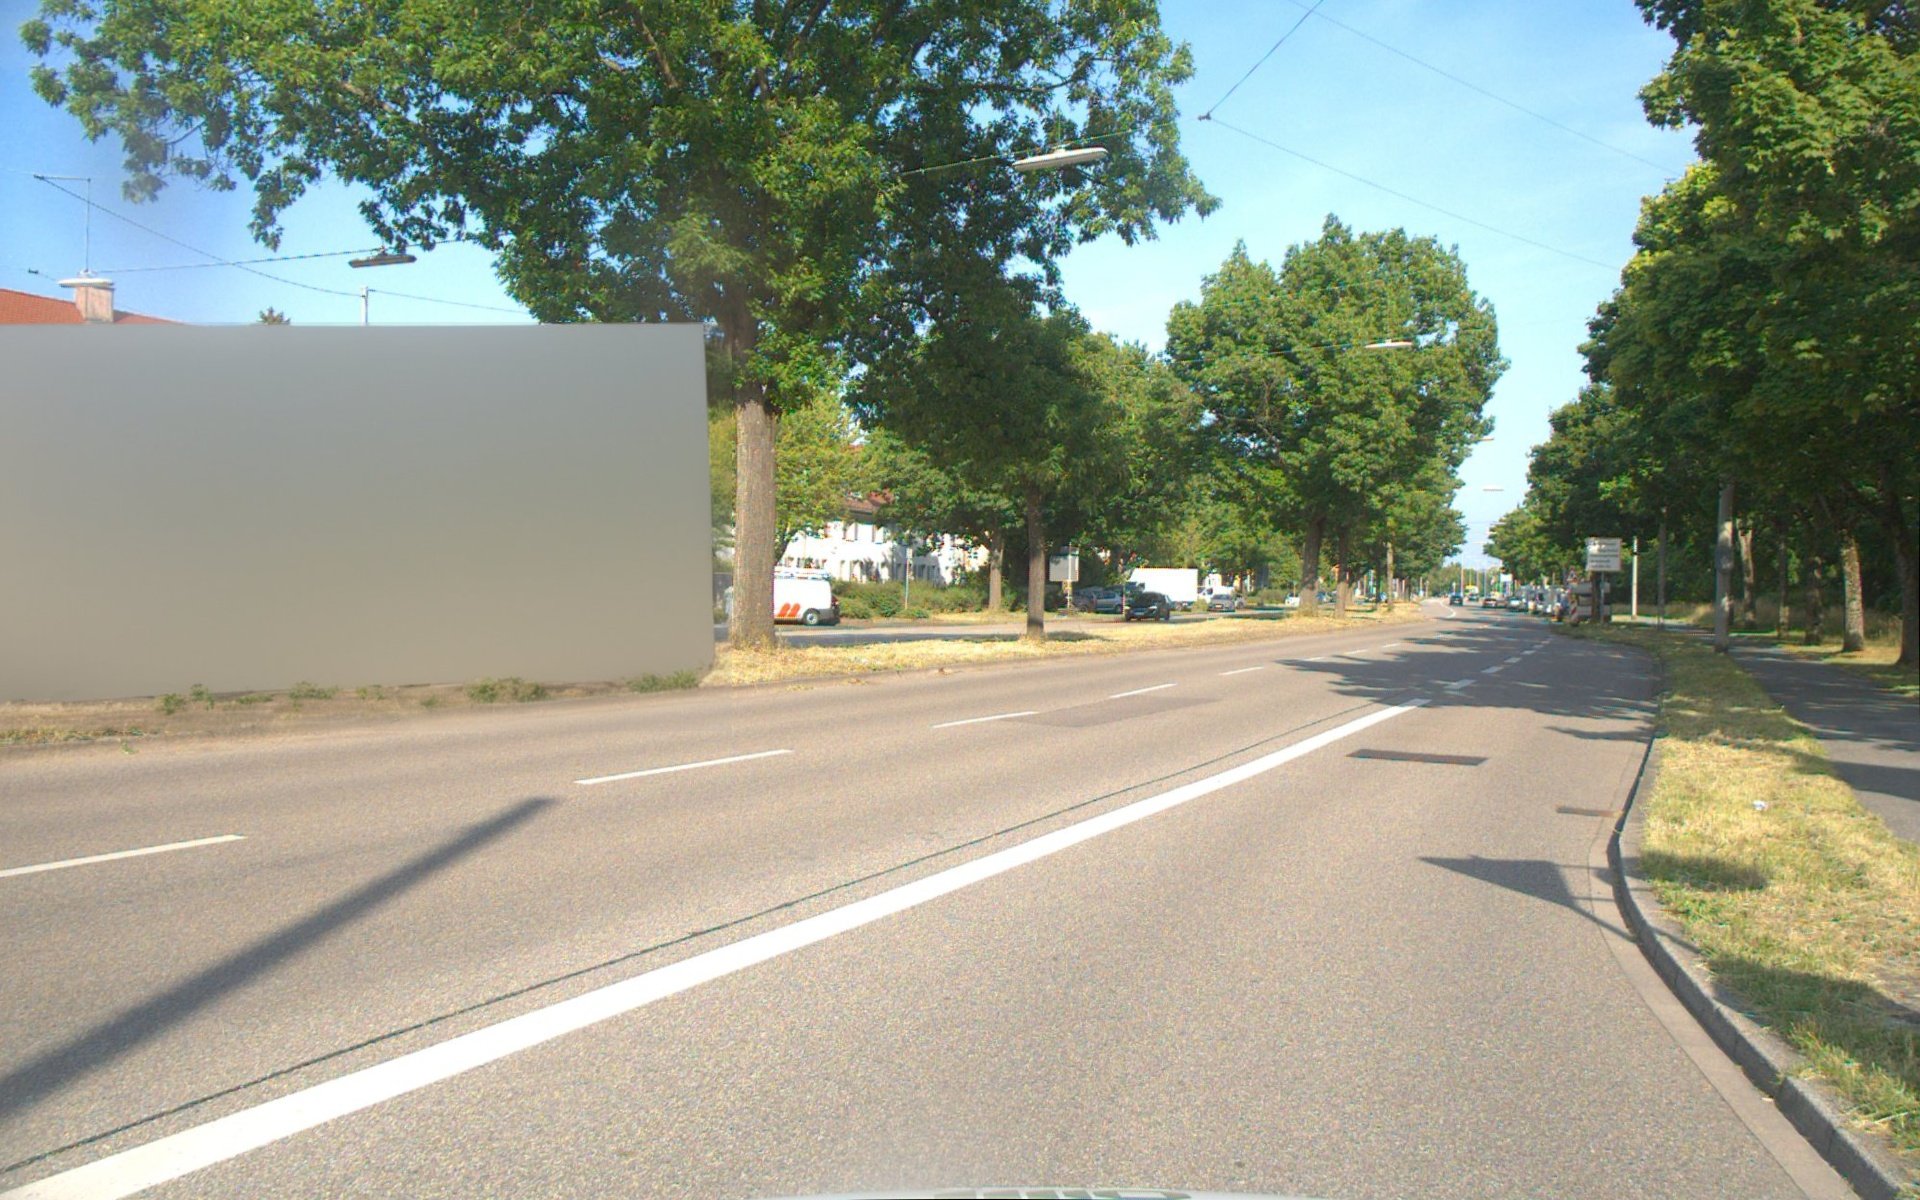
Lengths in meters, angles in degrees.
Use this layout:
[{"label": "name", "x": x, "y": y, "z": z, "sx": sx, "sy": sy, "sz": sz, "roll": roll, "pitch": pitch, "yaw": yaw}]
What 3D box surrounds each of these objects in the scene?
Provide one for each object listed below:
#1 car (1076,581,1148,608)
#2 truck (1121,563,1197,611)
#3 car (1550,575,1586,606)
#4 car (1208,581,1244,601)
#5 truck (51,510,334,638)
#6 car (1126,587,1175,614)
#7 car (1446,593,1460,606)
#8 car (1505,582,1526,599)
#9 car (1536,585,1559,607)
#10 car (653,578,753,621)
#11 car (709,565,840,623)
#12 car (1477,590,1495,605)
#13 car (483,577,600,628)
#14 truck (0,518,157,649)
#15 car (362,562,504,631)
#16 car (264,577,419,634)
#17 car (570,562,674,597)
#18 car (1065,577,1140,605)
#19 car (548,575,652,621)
[{"label": "car", "x": 10.180, "y": -0.368, "z": 110.854, "sx": 4.460, "sy": 1.753, "sz": 1.988, "roll": 0, "pitch": 0, "yaw": -21}, {"label": "truck", "x": 14.622, "y": -0.948, "z": 121.652, "sx": 5.422, "sy": 3.525, "sz": 1.982, "roll": 0, "pitch": 0, "yaw": -27}, {"label": "car", "x": 40.803, "y": -0.622, "z": 111.006, "sx": 1.951, "sy": 2.049, "sz": 4.134, "roll": 0, "pitch": 1, "yaw": 16}, {"label": "car", "x": 21.162, "y": -0.692, "z": 131.417, "sx": 1.872, "sy": 1.476, "sz": 4.278, "roll": 0, "pitch": -1, "yaw": 22}, {"label": "truck", "x": -18.180, "y": -0.606, "z": 39.504, "sx": 5.977, "sy": 2.904, "sz": 1.883, "roll": 0, "pitch": 0, "yaw": -23}, {"label": "car", "x": 9.973, "y": 0.028, "z": 86.518, "sx": 1.675, "sy": 1.377, "sz": 4.001, "roll": 1, "pitch": 1, "yaw": 20}, {"label": "car", "x": 69.504, "y": -0.034, "z": 233.192, "sx": 1.773, "sy": 1.736, "sz": 4.003, "roll": 0, "pitch": -1, "yaw": 13}, {"label": "car", "x": 67.448, "y": -1.117, "z": 200.926, "sx": 1.951, "sy": 2.049, "sz": 4.004, "roll": 0, "pitch": 1, "yaw": 13}, {"label": "car", "x": 56.933, "y": -0.379, "z": 160.394, "sx": 1.951, "sy": 2.049, "sz": 4.002, "roll": 0, "pitch": 1, "yaw": 17}, {"label": "car", "x": -9.475, "y": -0.039, "z": 60.954, "sx": 3.370, "sy": 1.540, "sz": 1.886, "roll": 0, "pitch": 0, "yaw": -19}, {"label": "car", "x": -7.475, "y": -0.265, "z": 66.691, "sx": 4.895, "sy": 2.271, "sz": 1.986, "roll": 0, "pitch": 0, "yaw": -23}, {"label": "car", "x": 66.973, "y": -0.323, "z": 210.606, "sx": 1.773, "sy": 1.736, "sz": 4.003, "roll": 0, "pitch": -1, "yaw": 13}, {"label": "car", "x": -13.087, "y": 0.076, "z": 51.693, "sx": 3.435, "sy": 1.540, "sz": 1.886, "roll": 0, "pitch": 0, "yaw": -19}, {"label": "truck", "x": -20.012, "y": -0.368, "z": 33.605, "sx": 6.225, "sy": 2.568, "sz": 2.271, "roll": 1, "pitch": 0, "yaw": -12}, {"label": "car", "x": -15.405, "y": -0.099, "z": 48.333, "sx": 3.843, "sy": 1.953, "sz": 1.883, "roll": 0, "pitch": 0, "yaw": -23}, {"label": "car", "x": -16.922, "y": 0.133, "z": 45.247, "sx": 3.848, "sy": 1.481, "sz": 1.880, "roll": 0, "pitch": 1, "yaw": -26}, {"label": "car", "x": -16.994, "y": -1.029, "z": 83.085, "sx": 4.862, "sy": 1.749, "sz": 2.000, "roll": 0, "pitch": 0, "yaw": 23}, {"label": "car", "x": 9.252, "y": -0.603, "z": 107.647, "sx": 4.460, "sy": 1.753, "sz": 1.988, "roll": 0, "pitch": 0, "yaw": -21}, {"label": "car", "x": -12.526, "y": -0.073, "z": 57.480, "sx": 3.370, "sy": 1.540, "sz": 1.886, "roll": 0, "pitch": 0, "yaw": -19}]
